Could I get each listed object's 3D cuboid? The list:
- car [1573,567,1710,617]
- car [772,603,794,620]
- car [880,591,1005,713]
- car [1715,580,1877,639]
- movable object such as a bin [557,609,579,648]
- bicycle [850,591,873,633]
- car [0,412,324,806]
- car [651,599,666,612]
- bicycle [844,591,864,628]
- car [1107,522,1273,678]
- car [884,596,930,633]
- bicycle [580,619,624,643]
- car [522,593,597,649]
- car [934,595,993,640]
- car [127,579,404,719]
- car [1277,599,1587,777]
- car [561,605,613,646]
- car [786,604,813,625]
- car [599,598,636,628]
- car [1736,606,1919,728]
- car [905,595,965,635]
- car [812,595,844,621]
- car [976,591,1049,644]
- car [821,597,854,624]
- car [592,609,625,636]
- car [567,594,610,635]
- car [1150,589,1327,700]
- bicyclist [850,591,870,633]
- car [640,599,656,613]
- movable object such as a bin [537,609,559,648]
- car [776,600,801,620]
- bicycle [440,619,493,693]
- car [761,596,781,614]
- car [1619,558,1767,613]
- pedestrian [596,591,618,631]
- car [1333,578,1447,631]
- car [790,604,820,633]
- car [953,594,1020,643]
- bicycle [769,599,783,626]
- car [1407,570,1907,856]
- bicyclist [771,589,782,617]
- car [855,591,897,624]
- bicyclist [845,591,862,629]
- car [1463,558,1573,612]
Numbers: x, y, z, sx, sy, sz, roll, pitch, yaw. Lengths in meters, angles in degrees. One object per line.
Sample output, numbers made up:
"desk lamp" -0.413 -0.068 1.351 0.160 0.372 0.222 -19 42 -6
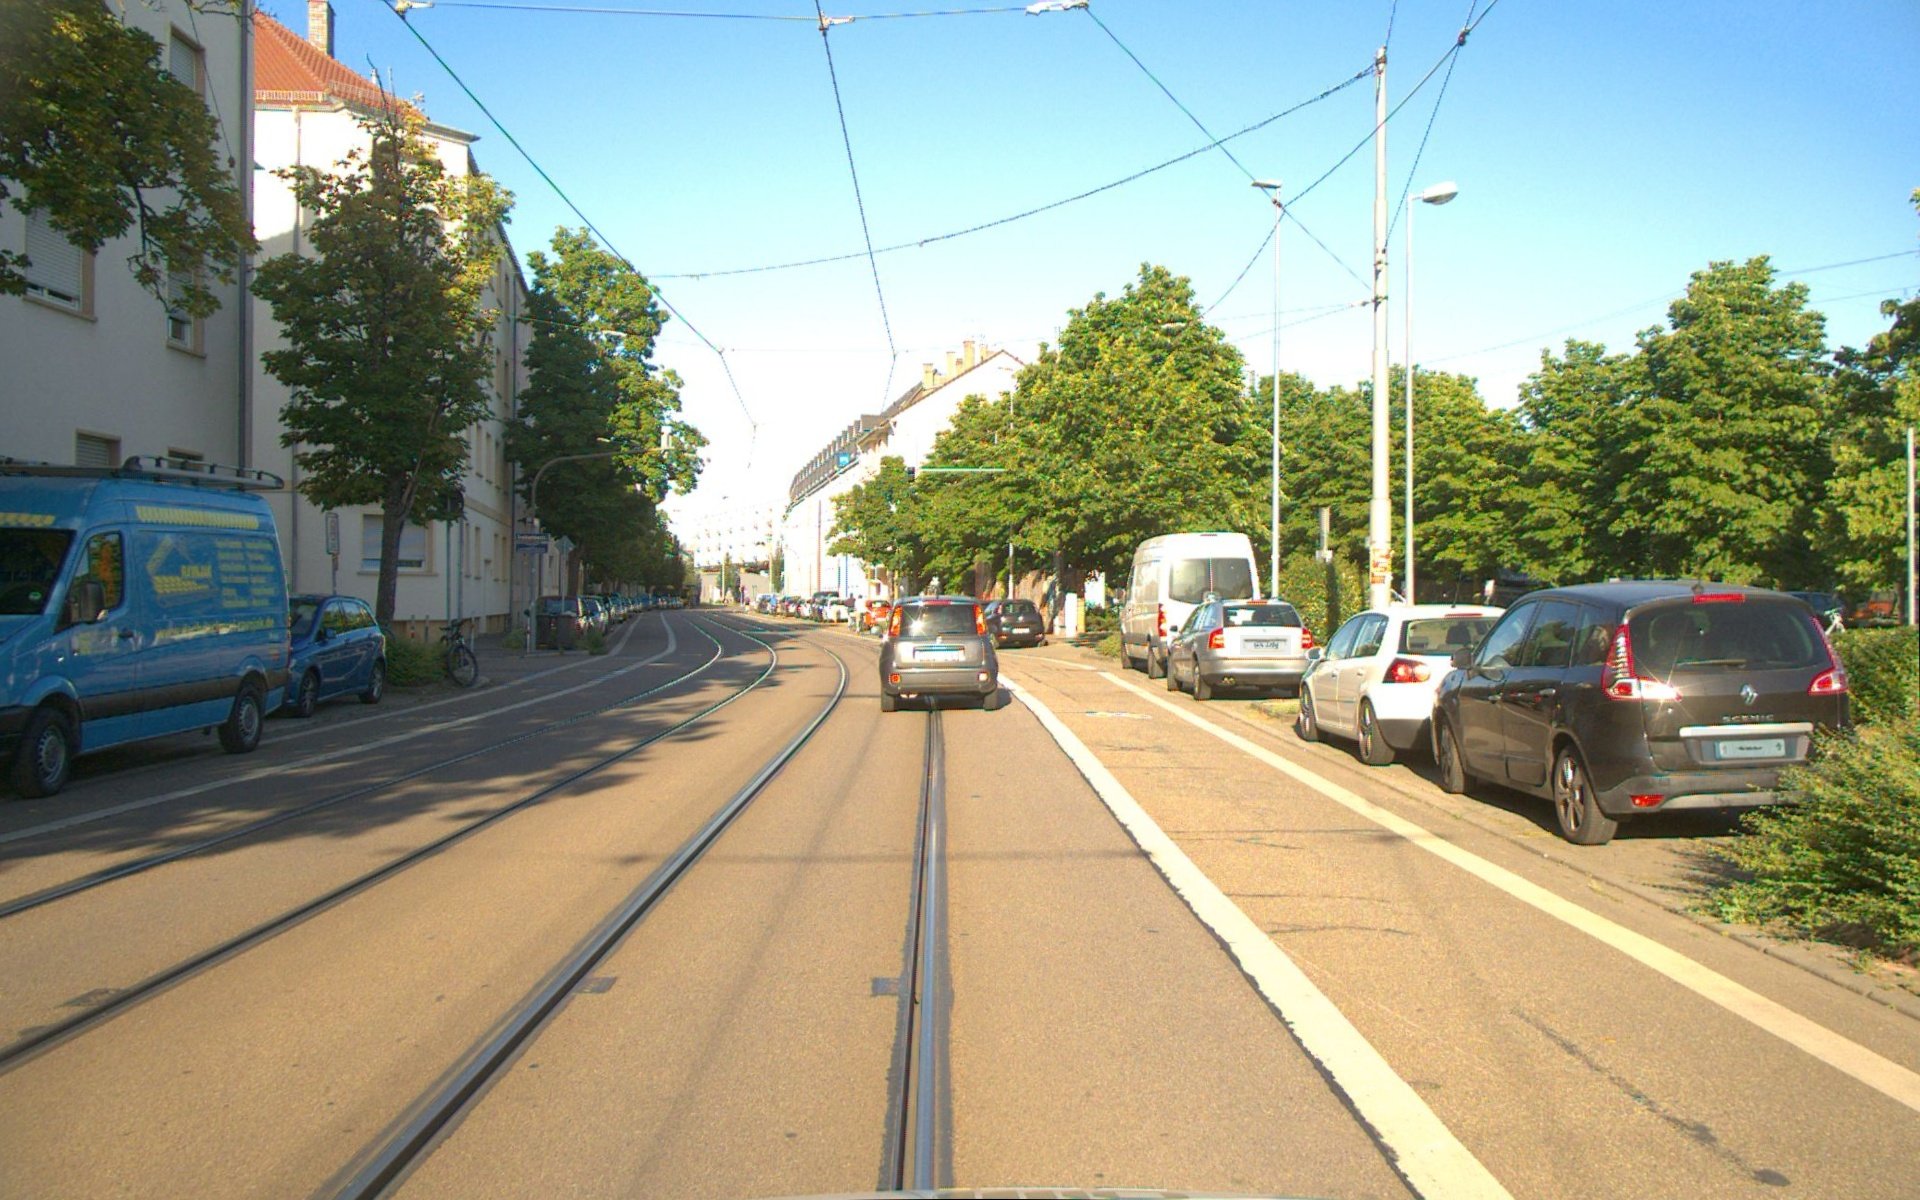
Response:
"car" 26.560 -0.305 64.545 4.596 1.847 1.958 1 0 -9
"car" -15.258 0.972 142.781 1.555 1.430 3.367 1 0 -11
"car" -0.256 0.670 23.488 1.616 1.568 4.234 0 0 -1
"car" 28.065 0.312 55.557 4.596 1.847 1.958 1 0 -9
"movable object such as a bin" -10.361 0.746 43.715 0.475 1.005 0.658 1 0 -8
"bicycle" -4.201 0.498 70.344 0.663 1.777 2.151 1 0 -11
"car" -7.970 0.063 14.986 1.976 2.875 6.032 1 0 0
"car" -37.107 0.705 203.472 1.676 1.523 3.713 1 0 -10
"bicycle" -5.116 0.456 79.519 0.663 1.777 2.151 1 0 -11
"car" 4.387 0.012 32.624 2.136 2.712 6.088 -2 0 -2
"car" -2.380 0.632 73.647 1.657 1.557 3.993 -1 0 -7
"bicycle" -16.009 1.388 74.019 1.889 1.064 0.475 1 -1 -10
"car" -11.687 0.589 48.477 1.656 1.557 3.994 1 0 -7
"car" 0.085 0.627 61.482 1.657 1.557 3.993 -1 0 -7
"car" -9.176 0.598 22.318 1.755 1.588 4.641 3 0 -1
"car" 4.570 0.786 16.688 1.693 1.539 4.249 1 0 -3
"car" -14.675 0.990 65.207 1.657 1.501 4.650 1 0 -9
"car" -11.819 1.048 121.578 1.626 1.526 3.121 1 0 -11
"car" -18.200 0.663 88.008 1.776 1.534 4.180 1 0 -11
"car" 8.849 0.600 15.882 1.282 1.051 3.055 1 0 -2
"car" -1.057 0.618 68.384 1.660 1.557 3.987 -1 0 -13
"car" -8.433 0.502 105.306 1.626 1.599 3.865 1 0 -11
"car" 1.617 0.531 51.878 1.657 1.557 3.993 -1 0 -7
"car" -7.493 0.648 100.923 1.626 1.599 3.489 1 0 -11
"car" -20.763 1.308 97.753 1.776 1.534 4.668 1 0 -11
"car" -15.858 0.602 70.500 1.624 1.697 4.279 1 0 -15
"car" 4.232 0.639 25.880 1.872 1.556 4.599 -1 0 -2
"bicyclist" -4.268 0.503 70.555 0.687 1.790 0.755 1 -1 -12
"car" -35.421 0.721 187.801 1.676 1.523 3.713 1 0 -10
"movable object such as a bin" -10.868 0.748 43.602 0.475 1.005 0.658 1 0 -8
"car" -13.580 0.763 130.927 1.555 1.429 3.367 -3 1 -11
"bicycle" -8.218 0.910 27.619 0.502 1.154 2.028 1 0 -7
"car" -17.734 0.476 155.294 1.555 1.627 3.367 1 0 -11
"car" 26.647 -0.509 60.201 4.596 1.847 1.958 1 0 -9
"pedestrian" -16.453 0.503 77.091 0.840 1.808 0.728 -1 1 -30
"car" 17.929 0.183 69.062 4.198 2.049 1.772 -1 0 -7
"car" -10.905 1.305 116.436 1.626 1.978 4.652 1 0 -11
"car" 0.872 0.617 56.318 1.657 1.557 4.348 -1 0 -7
"bicycle" -13.928 0.923 125.101 0.728 2.049 2.804 1 0 -11
"car" 4.727 0.678 11.985 1.693 1.632 4.341 -2 0 -1
"bicyclist" -13.914 0.238 125.238 0.702 2.049 0.829 1 -1 -12
"car" -4.226 0.366 82.982 1.606 1.534 3.388 -2 0 -10
"bicyclist" -5.124 0.478 79.551 0.687 1.790 0.755 1 -1 -12
"car" 24.500 -0.662 72.666 4.115 2.280 2.136 0 0 -13
